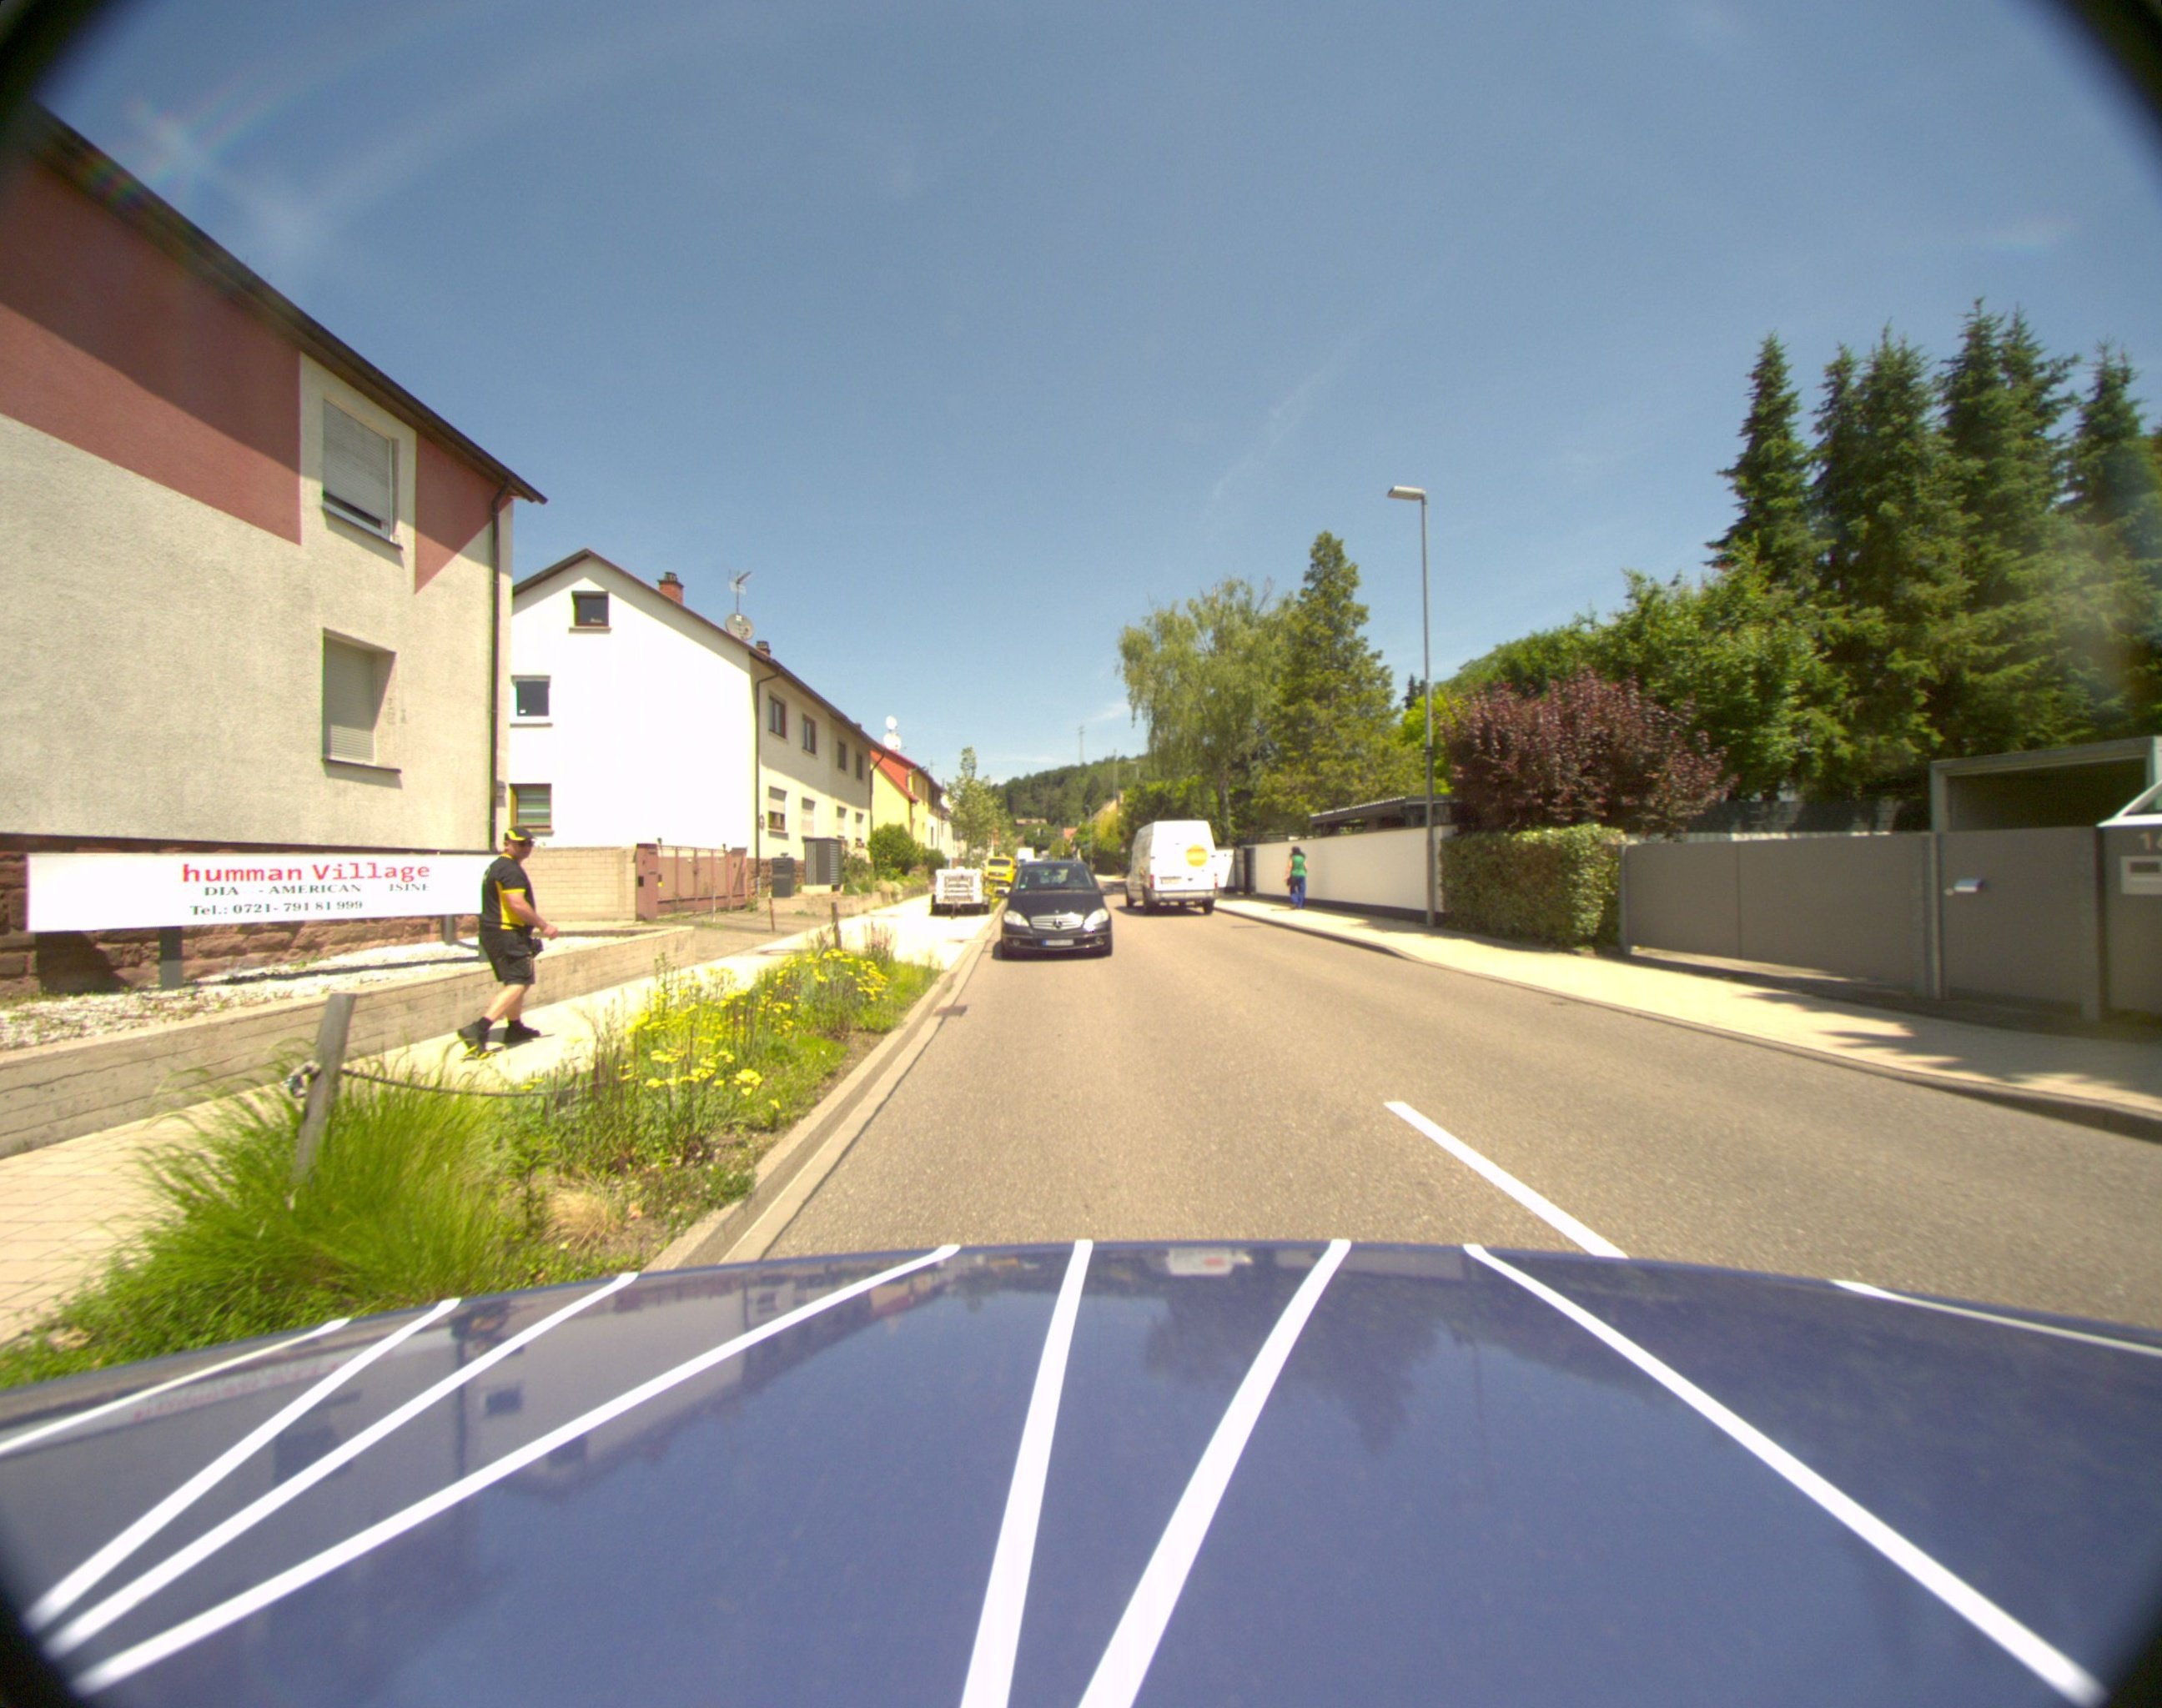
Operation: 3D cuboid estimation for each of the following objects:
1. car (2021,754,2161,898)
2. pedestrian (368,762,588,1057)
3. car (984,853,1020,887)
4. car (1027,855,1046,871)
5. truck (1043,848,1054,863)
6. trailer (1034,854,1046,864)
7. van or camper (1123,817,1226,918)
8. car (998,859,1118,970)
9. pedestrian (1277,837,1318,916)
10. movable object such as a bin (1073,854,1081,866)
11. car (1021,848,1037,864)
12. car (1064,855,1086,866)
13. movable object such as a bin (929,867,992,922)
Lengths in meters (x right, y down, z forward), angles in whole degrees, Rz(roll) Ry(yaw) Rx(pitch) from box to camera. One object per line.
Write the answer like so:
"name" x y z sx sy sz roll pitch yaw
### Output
"car" 16.465 -0.465 10.318 4.813 1.883 2.161 -2 1 -1
"pedestrian" -4.472 0.379 5.737 0.748 2.002 1.033 -2 1 -2
"car" -5.343 1.046 51.852 2.196 2.002 5.619 3 0 -5
"car" -5.082 1.027 86.785 1.999 1.716 3.998 -3 0 -5
"truck" -8.157 0.333 190.469 2.548 3.716 8.620 0 0 -2
"trailer" -8.632 0.985 159.052 2.162 1.975 6.197 -2 1 -6
"van or camper" 2.689 0.371 23.396 2.043 2.697 5.822 -1 0 -4
"car" -0.459 0.941 14.049 1.767 1.572 4.929 -2 0 -3
"pedestrian" 5.627 0.566 19.759 0.722 2.002 0.803 -2 1 -5
"movable object such as a bin" -0.683 0.982 128.139 1.062 2.002 1.322 -2 1 -4
"car" -7.386 0.287 107.732 1.987 2.170 3.999 -2 1 -1
"car" -1.049 1.172 134.024 3.607 1.780 1.847 -2 1 -5
"movable object such as a bin" -3.450 1.117 22.211 1.576 1.408 3.040 0 1 -4
